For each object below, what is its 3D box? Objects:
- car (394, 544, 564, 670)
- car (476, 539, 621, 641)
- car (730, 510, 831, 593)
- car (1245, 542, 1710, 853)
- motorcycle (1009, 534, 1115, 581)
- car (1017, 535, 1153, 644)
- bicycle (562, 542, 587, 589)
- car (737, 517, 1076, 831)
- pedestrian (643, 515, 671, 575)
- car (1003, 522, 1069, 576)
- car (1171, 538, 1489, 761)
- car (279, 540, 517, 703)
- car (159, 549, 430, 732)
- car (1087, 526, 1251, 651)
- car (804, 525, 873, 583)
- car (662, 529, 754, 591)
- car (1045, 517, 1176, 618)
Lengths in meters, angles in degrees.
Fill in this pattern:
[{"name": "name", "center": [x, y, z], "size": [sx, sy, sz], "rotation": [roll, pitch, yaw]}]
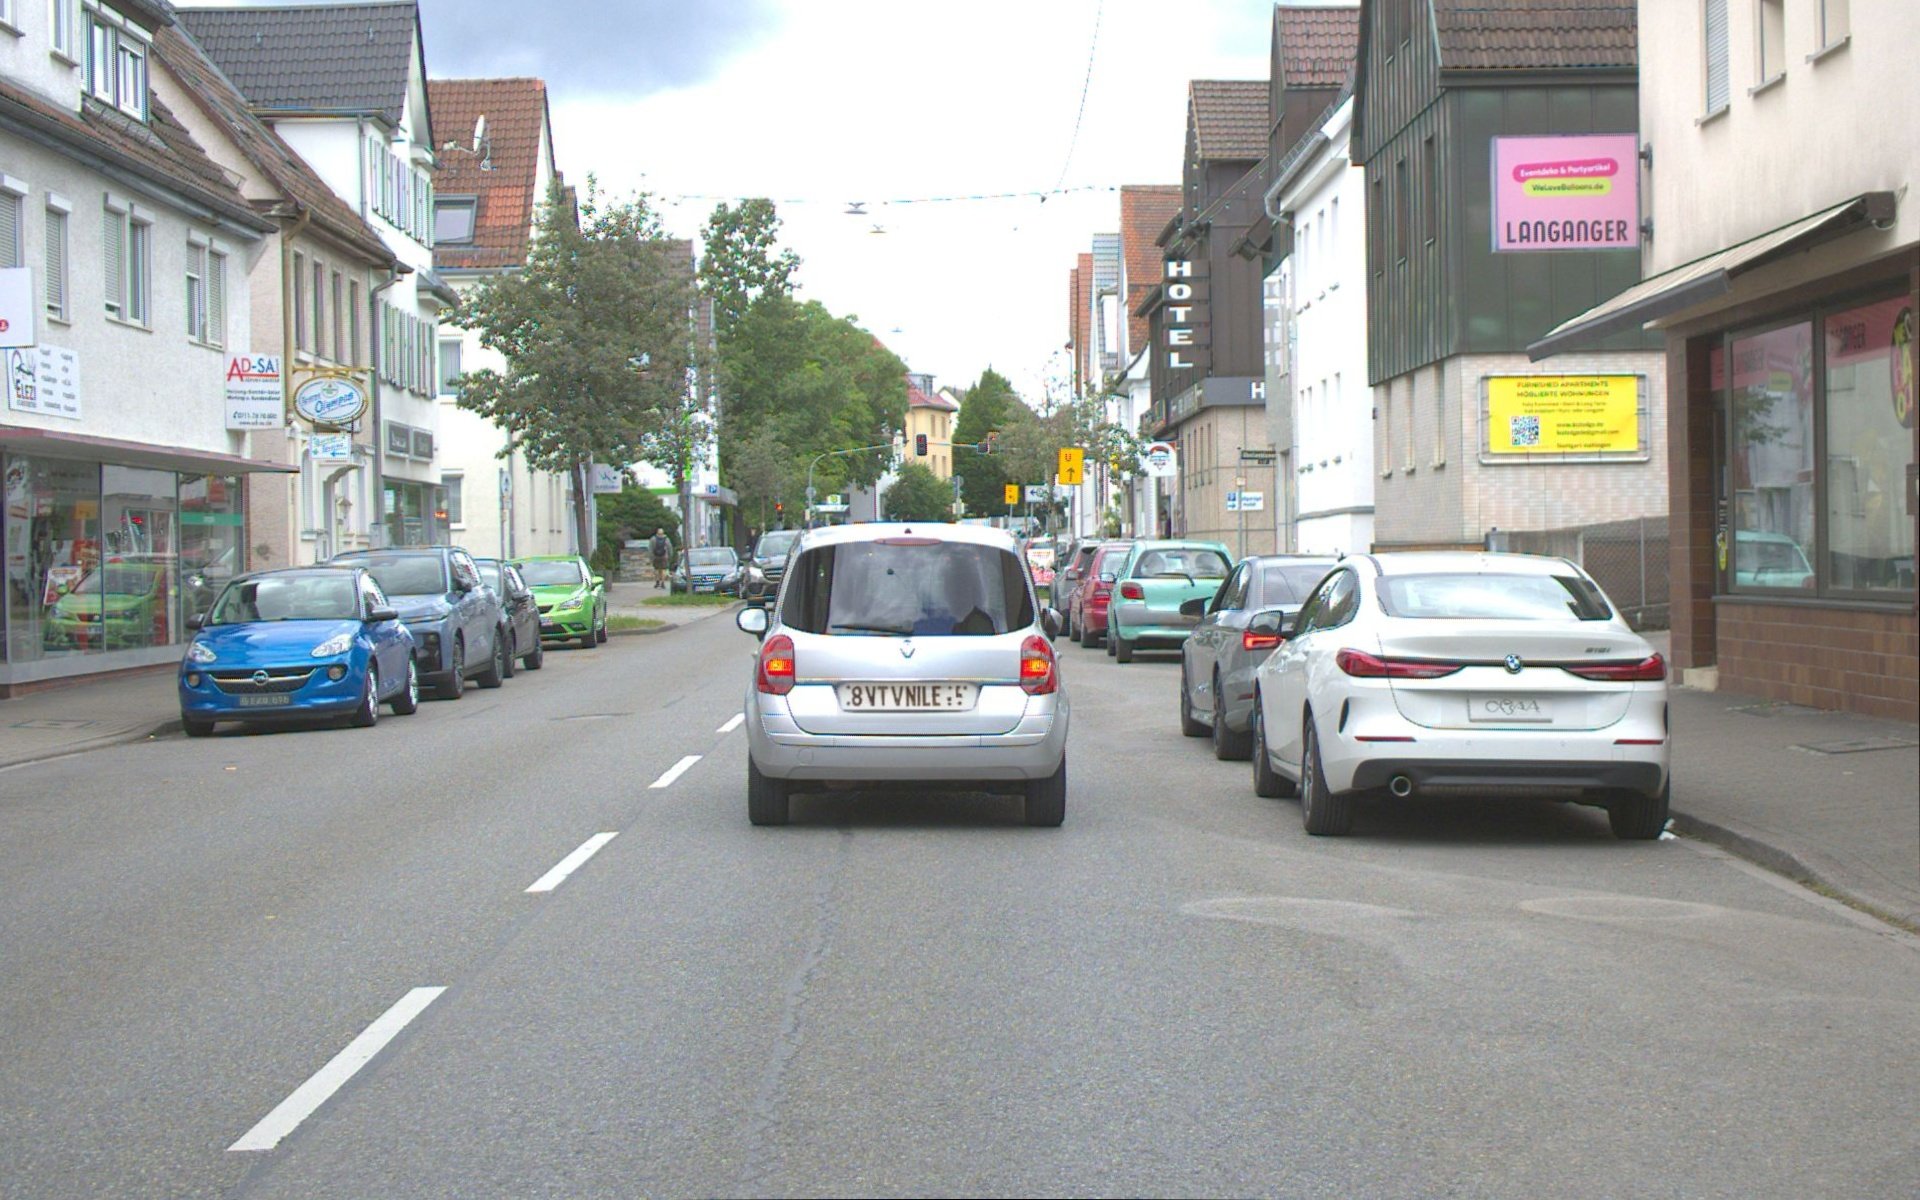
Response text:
[{"name": "car", "center": [-5.997, 0.058, 43.217], "size": [1.581, 1.503, 3.812], "rotation": [0, 1, 0]}, {"name": "car", "center": [-6.318, -0.185, 53.087], "size": [1.682, 1.442, 4.020], "rotation": [-3, 1, 0]}, {"name": "car", "center": [-3.968, -1.095, 76.619], "size": [1.900, 1.731, 4.366], "rotation": [-2, 1, 0]}, {"name": "car", "center": [2.602, 0.420, 18.266], "size": [1.831, 1.441, 4.332], "rotation": [0, 1, 0]}, {"name": "motorcycle", "center": [2.601, -1.085, 87.201], "size": [2.728, 1.179, 0.700], "rotation": [-1, 1, -30]}, {"name": "car", "center": [1.699, -0.177, 47.945], "size": [1.755, 1.441, 4.455], "rotation": [0, 1, 0]}, {"name": "bicycle", "center": [-9.501, -0.859, 84.816], "size": [0.514, 1.149, 1.666], "rotation": [0, 1, -3]}, {"name": "car", "center": [-0.256, 0.329, 19.107], "size": [1.682, 1.560, 3.993], "rotation": [0, 1, 0]}, {"name": "pedestrian", "center": [-9.032, -1.635, 102.445], "size": [0.762, 1.785, 0.890], "rotation": [0, 1, 0]}, {"name": "car", "center": [2.108, -1.433, 96.204], "size": [1.700, 1.462, 4.239], "rotation": [0, 1, -1]}, {"name": "car", "center": [2.536, 0.284, 24.448], "size": [1.831, 1.441, 4.110], "rotation": [0, 1, 0]}, {"name": "car", "center": [-6.064, 0.182, 37.540], "size": [1.803, 1.593, 4.304], "rotation": [-2, 1, 0]}, {"name": "car", "center": [-6.075, 0.324, 31.760], "size": [1.682, 1.494, 3.775], "rotation": [-2, 1, 0]}, {"name": "car", "center": [2.575, -0.175, 43.113], "size": [1.831, 1.492, 3.993], "rotation": [0, 1, 0]}, {"name": "car", "center": [-3.546, -1.375, 100.943], "size": [1.794, 1.573, 4.192], "rotation": [-3, 1, 0]}, {"name": "car", "center": [-6.459, -1.050, 88.667], "size": [1.948, 1.462, 4.516], "rotation": [-3, 1, 0]}, {"name": "car", "center": [2.336, -0.532, 54.295], "size": [1.876, 1.534, 4.513], "rotation": [0, 1, 0]}]
